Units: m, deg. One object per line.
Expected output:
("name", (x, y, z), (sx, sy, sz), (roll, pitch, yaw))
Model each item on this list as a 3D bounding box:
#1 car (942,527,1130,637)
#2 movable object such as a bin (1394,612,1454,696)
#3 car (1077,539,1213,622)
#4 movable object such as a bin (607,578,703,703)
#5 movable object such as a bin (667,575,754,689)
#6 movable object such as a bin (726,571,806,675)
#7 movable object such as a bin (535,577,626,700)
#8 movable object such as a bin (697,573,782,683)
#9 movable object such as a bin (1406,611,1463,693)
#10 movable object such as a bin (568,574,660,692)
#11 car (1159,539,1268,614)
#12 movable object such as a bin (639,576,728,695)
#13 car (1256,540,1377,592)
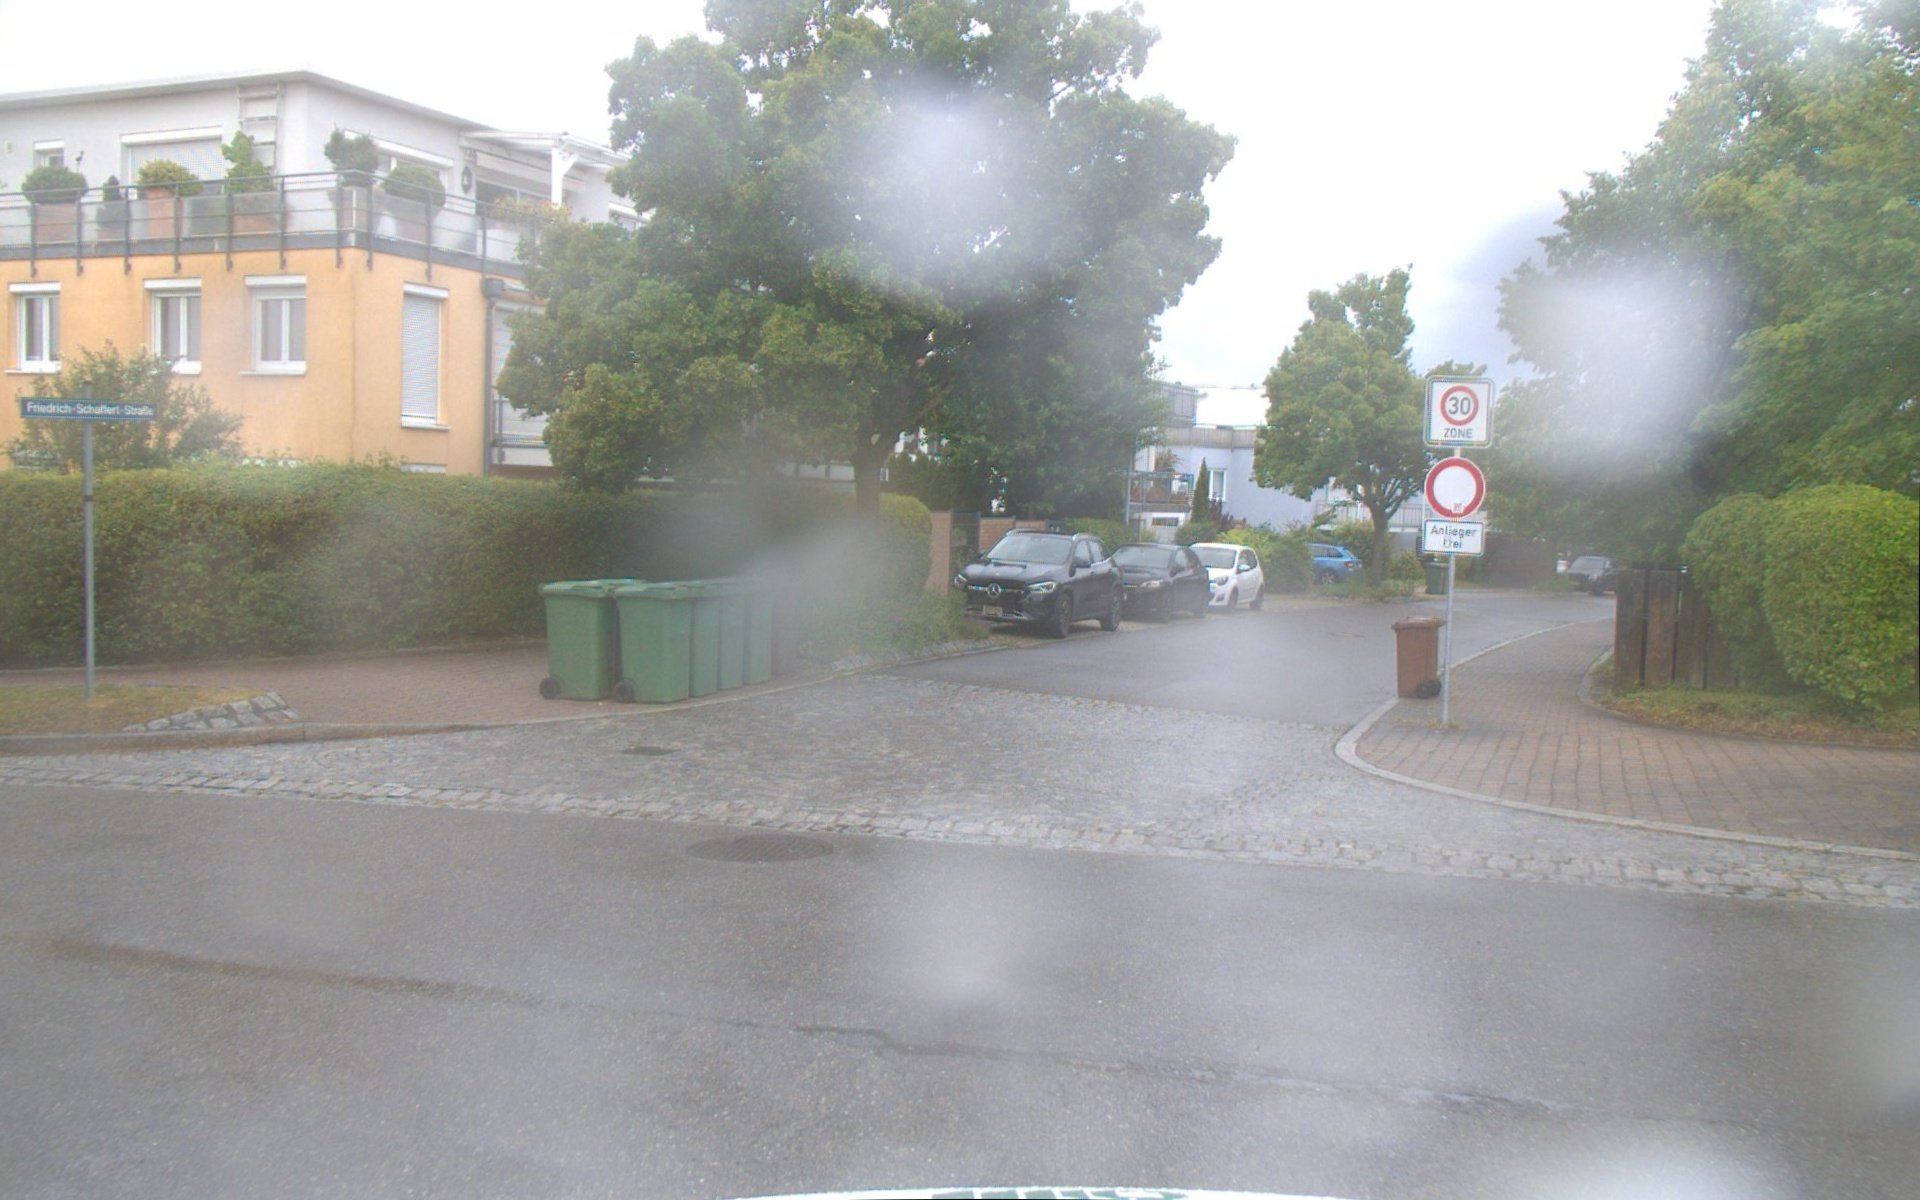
("car", (1.332, -0.336, 27.067), (1.740, 1.544, 4.137), (4, 3, 22))
("movable object such as a bin", (5.583, 0.640, 19.900), (0.559, 0.947, 0.529), (3, 2, 28))
("car", (3.715, -0.409, 32.688), (1.603, 1.433, 3.603), (5, 3, 24))
("movable object such as a bin", (-2.824, 0.363, 15.345), (0.679, 1.093, 0.603), (1, 2, 15))
("movable object such as a bin", (-2.484, 0.307, 16.499), (0.679, 1.085, 0.579), (1, 2, 15))
("movable object such as a bin", (-2.092, 0.239, 17.875), (0.679, 1.073, 0.606), (1, 2, 15))
("movable object such as a bin", (-3.550, 0.349, 15.485), (0.651, 1.092, 0.544), (1, 2, 15))
("movable object such as a bin", (-2.271, 0.277, 17.081), (0.679, 1.073, 0.606), (1, 2, 15))
("movable object such as a bin", (5.858, 0.631, 20.412), (0.559, 0.947, 0.529), (3, 2, 28))
("movable object such as a bin", (-3.362, 0.309, 16.081), (0.679, 1.091, 0.598), (1, 2, 15))
("car", (5.720, -0.540, 37.098), (1.481, 1.502, 3.271), (5, 3, 25))
("movable object such as a bin", (-2.662, 0.333, 15.935), (0.679, 1.093, 0.544), (1, 2, 15))
("car", (12.543, -1.207, 58.193), (3.904, 1.595, 1.909), (3, 2, 19))
